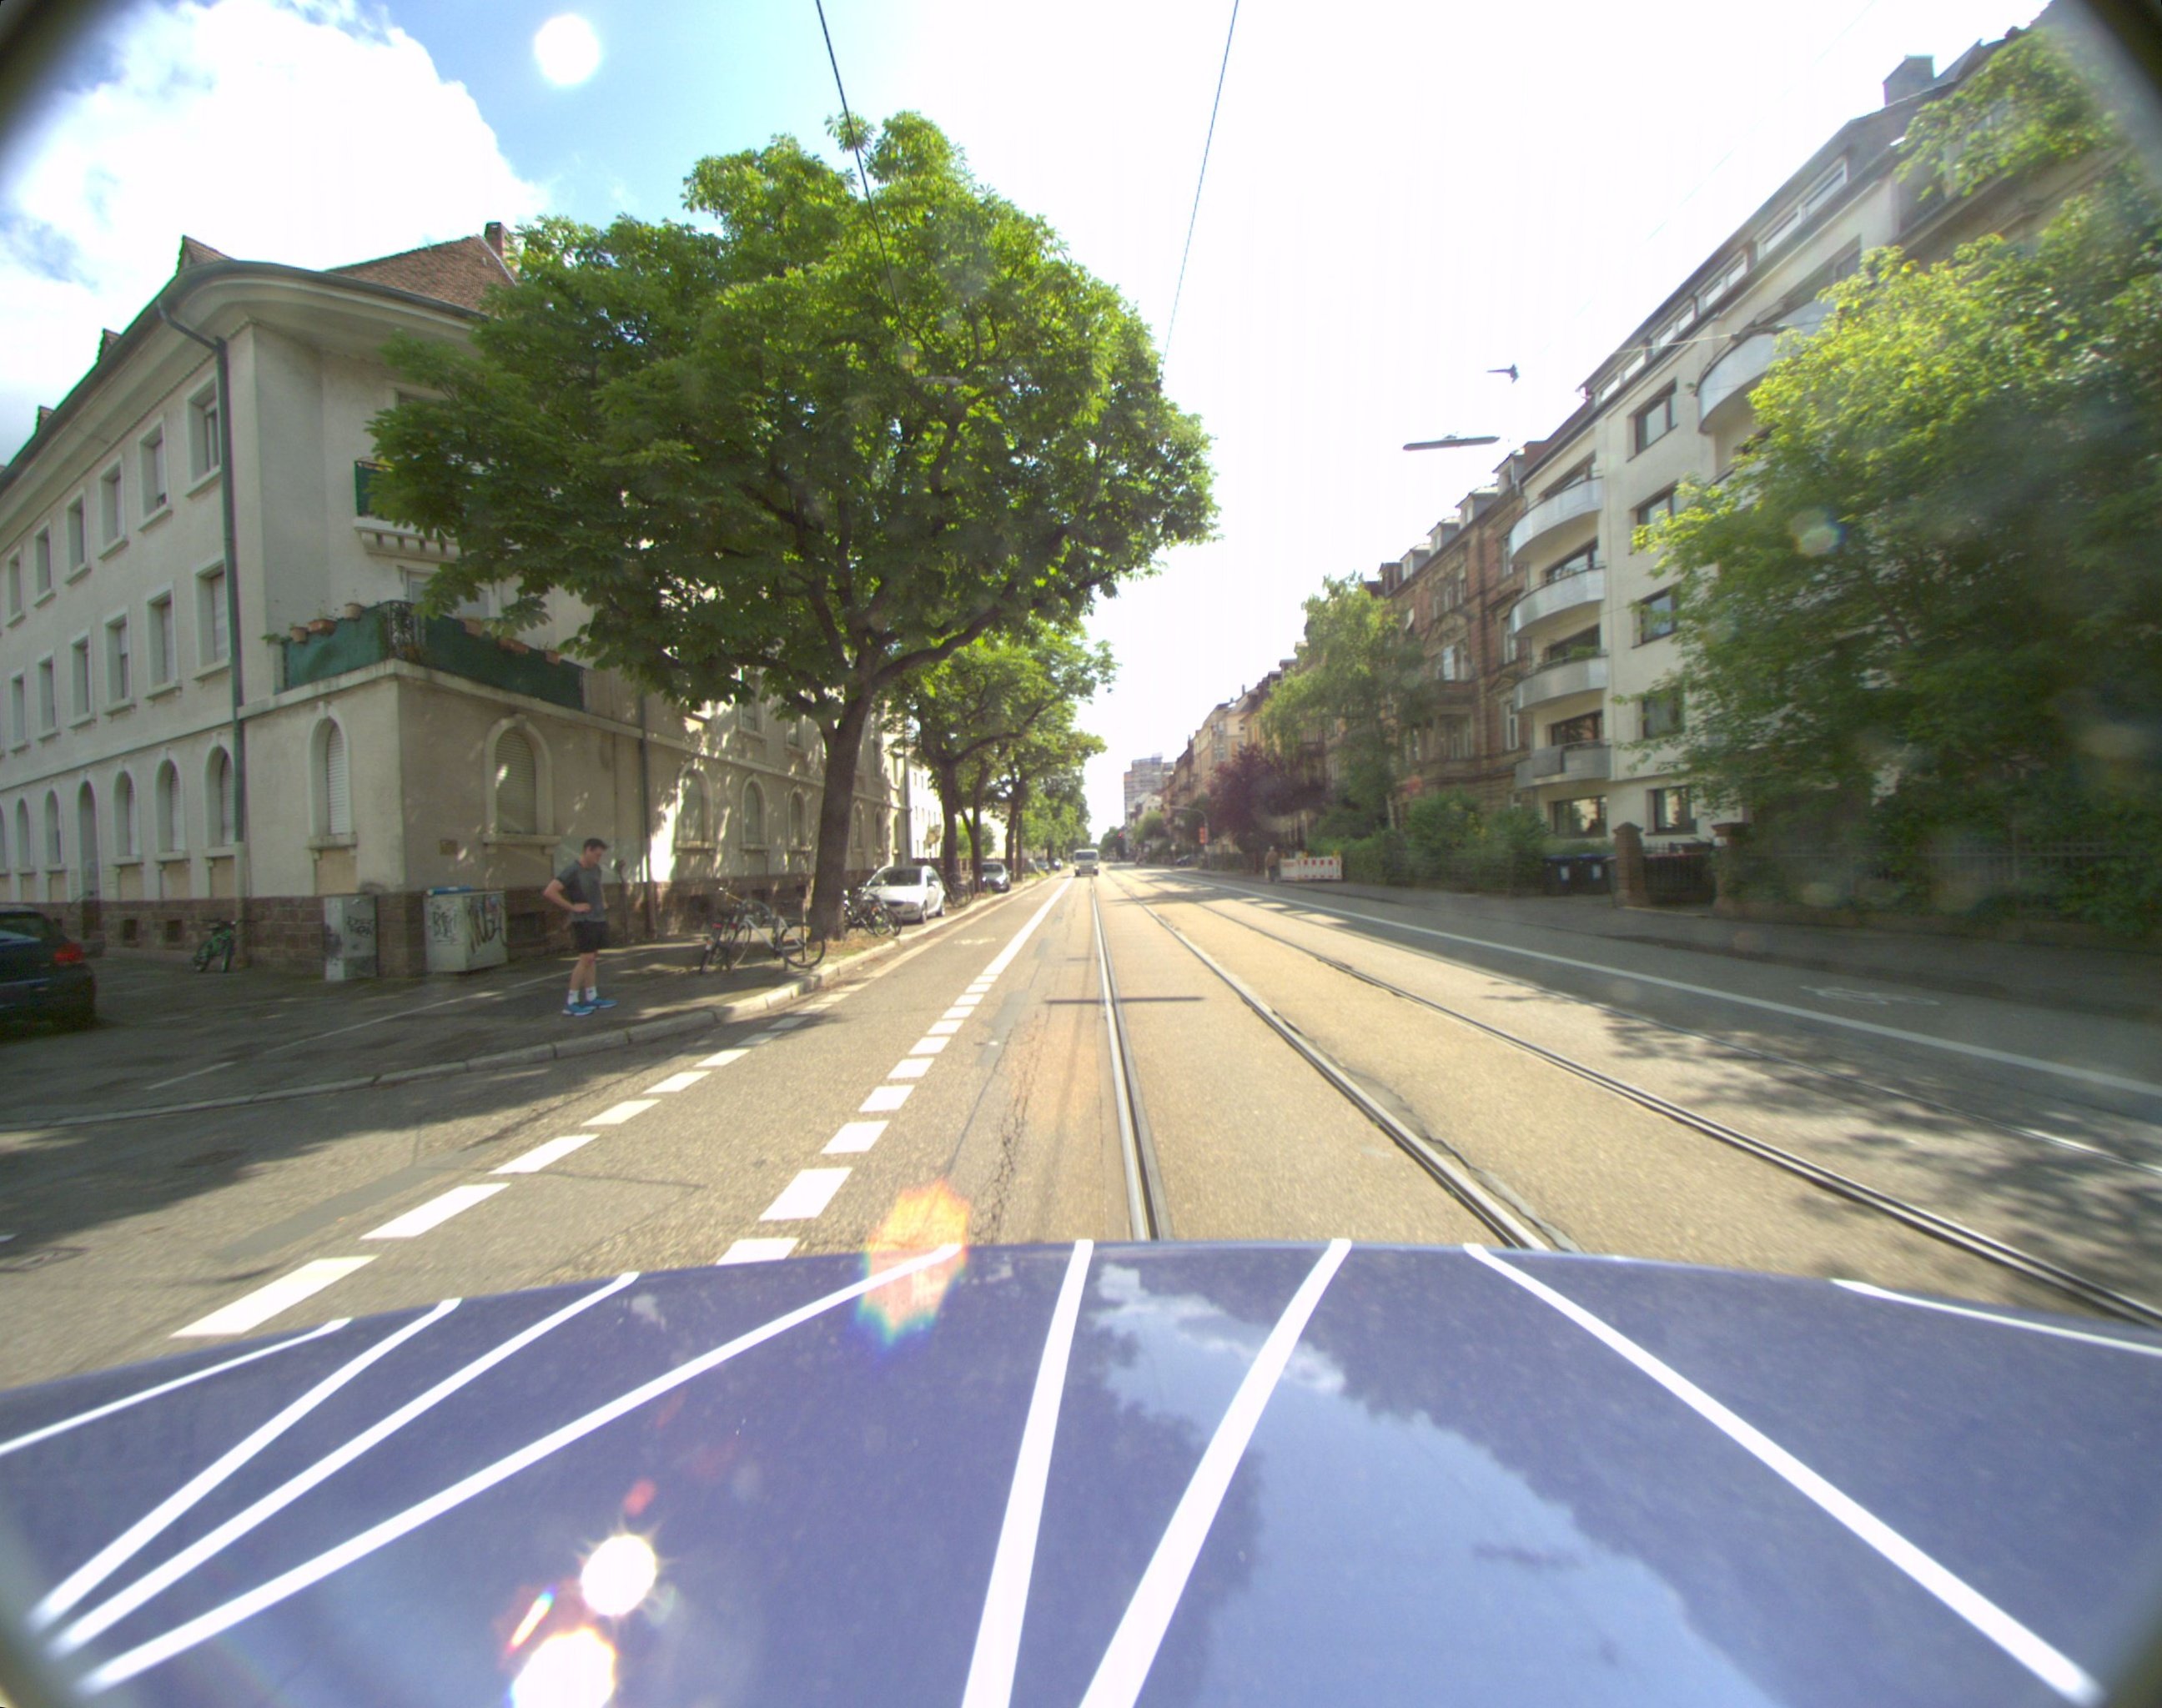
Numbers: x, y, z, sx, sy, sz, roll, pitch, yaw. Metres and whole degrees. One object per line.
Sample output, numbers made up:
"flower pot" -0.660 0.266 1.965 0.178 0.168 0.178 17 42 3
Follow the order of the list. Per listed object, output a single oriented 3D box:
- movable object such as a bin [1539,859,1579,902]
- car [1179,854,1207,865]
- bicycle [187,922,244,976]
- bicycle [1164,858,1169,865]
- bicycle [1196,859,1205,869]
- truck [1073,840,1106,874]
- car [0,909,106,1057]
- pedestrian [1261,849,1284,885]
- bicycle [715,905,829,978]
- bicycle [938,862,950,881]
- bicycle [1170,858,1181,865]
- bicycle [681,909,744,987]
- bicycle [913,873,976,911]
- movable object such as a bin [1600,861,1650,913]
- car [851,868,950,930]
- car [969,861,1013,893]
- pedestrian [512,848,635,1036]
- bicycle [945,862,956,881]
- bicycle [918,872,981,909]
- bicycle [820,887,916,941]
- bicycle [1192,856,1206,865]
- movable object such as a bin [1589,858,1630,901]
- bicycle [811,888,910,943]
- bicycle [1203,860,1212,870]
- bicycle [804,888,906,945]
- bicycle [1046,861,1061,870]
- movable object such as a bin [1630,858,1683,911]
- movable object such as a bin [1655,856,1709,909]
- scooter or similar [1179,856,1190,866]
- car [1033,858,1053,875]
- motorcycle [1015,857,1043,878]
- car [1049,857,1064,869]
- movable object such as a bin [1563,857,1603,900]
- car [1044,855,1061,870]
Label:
"movable object such as a bin" 12.604 0.680 20.048 0.539 1.088 0.789 -2 1 1
"car" 15.156 0.758 102.865 3.611 1.394 1.787 -2 0 5
"bicycle" -14.515 1.574 12.733 1.350 0.818 0.322 -2 0 29
"bicycle" 12.265 1.052 109.093 0.422 0.971 1.949 -2 0 0
"bicycle" 11.682 0.965 74.325 0.531 0.941 1.968 -2 0 0
"truck" 0.658 0.272 65.236 2.532 2.721 6.514 -2 0 -1
"car" -12.386 1.365 8.015 3.556 1.398 1.711 -2 1 24
"pedestrian" 9.362 0.635 37.159 0.825 1.696 0.891 -2 1 -3
"bicycle" -4.372 1.236 10.769 1.495 0.977 0.259 -1 1 3
"bicycle" -9.110 1.140 50.591 0.413 1.204 1.704 -2 0 1
"bicycle" 12.969 1.068 104.608 1.456 0.971 0.404 -2 0 0
"bicycle" -5.312 1.322 11.026 0.259 0.895 1.771 -1 0 -8
"bicycle" -4.377 1.218 24.344 1.897 1.169 0.513 -1 1 12
"movable object such as a bin" 11.772 0.708 16.471 0.539 1.088 0.789 -2 0 5
"car" -4.646 1.113 20.108 1.670 1.422 3.766 0 0 1
"car" -4.325 1.075 37.085 1.851 1.401 4.393 0 0 -3
"pedestrian" -5.257 0.870 7.929 0.612 1.825 0.878 -1 2 -2
"bicycle" -8.632 1.144 50.322 0.413 1.204 1.704 -2 0 1
"bicycle" -4.309 1.195 24.892 1.940 1.169 0.513 -1 1 12
"bicycle" -4.548 1.279 16.277 1.908 1.066 0.402 -2 1 1
"bicycle" 15.322 0.855 98.774 1.759 1.057 0.524 -2 0 -5
"movable object such as a bin" 13.928 0.656 20.031 0.539 1.088 0.789 -2 1 1
"bicycle" -4.571 1.273 15.820 1.908 1.066 0.402 -2 1 1
"bicycle" 11.803 1.024 70.778 0.531 0.941 1.968 -2 0 0
"bicycle" -4.568 1.270 15.426 1.908 1.066 0.402 -2 1 1
"bicycle" -3.310 1.383 90.753 1.712 1.001 0.638 -1 0 1
"movable object such as a bin" 12.377 0.650 16.359 0.550 1.102 0.789 -2 0 5
"movable object such as a bin" 12.953 0.610 16.392 0.550 1.102 0.789 -2 0 5
"scooter or similar" 13.129 0.915 96.036 1.367 1.227 0.403 -3 1 -28
"car" -3.758 1.246 75.746 1.710 1.470 4.196 -4 0 0
"motorcycle" -4.164 1.064 60.522 2.380 1.588 0.680 -2 0 43
"car" -3.352 1.261 105.565 1.867 1.643 4.637 -2 0 0
"movable object such as a bin" 13.269 0.632 20.085 0.539 1.088 0.789 -2 1 1
"car" -3.527 1.113 95.529 1.832 1.772 4.733 -2 0 0
